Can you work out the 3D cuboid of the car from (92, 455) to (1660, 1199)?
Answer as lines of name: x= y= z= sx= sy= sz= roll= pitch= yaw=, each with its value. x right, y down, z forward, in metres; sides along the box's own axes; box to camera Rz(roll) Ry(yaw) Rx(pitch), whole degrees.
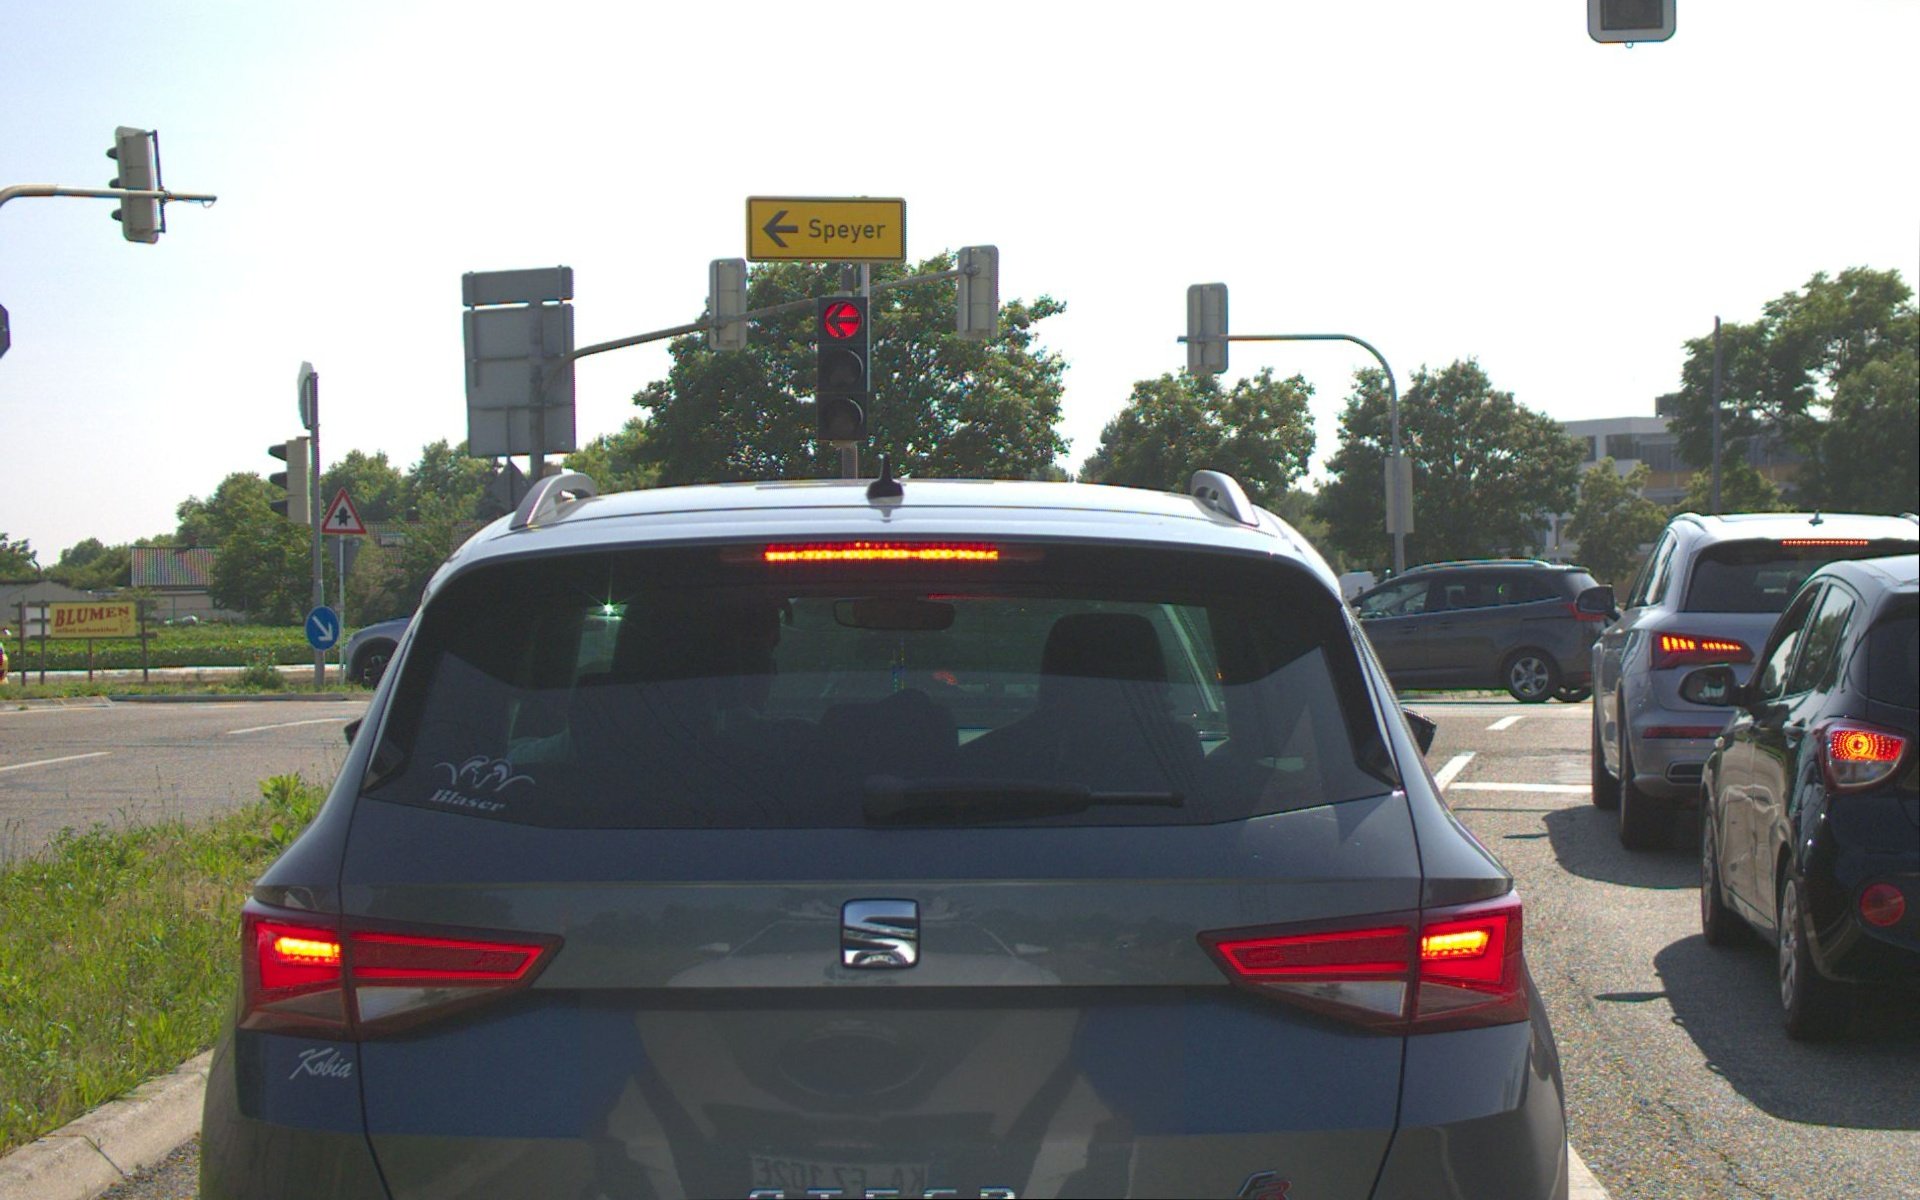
car: x=-0.120 y=0.619 z=5.666 sx=1.742 sy=1.563 sz=3.624 roll=1 pitch=0 yaw=-1

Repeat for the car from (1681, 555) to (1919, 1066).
car: x=3.380 y=0.584 z=11.342 sx=1.633 sy=1.443 sz=3.294 roll=1 pitch=1 yaw=6

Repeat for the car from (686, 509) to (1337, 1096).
car: x=0.150 y=0.535 z=11.152 sx=1.742 sy=1.563 sz=3.624 roll=1 pitch=0 yaw=0

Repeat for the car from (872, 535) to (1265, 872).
car: x=0.634 y=0.451 z=17.273 sx=1.742 sy=1.479 sz=3.623 roll=1 pitch=0 yaw=5

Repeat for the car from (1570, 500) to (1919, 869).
car: x=4.081 y=0.365 z=17.569 sx=1.633 sy=1.671 sz=3.749 roll=1 pitch=1 yaw=6

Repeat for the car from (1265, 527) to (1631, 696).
car: x=5.828 y=0.129 z=41.098 sx=4.013 sy=1.946 sz=1.694 roll=0 pitch=0 yaw=25

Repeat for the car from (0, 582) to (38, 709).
car: x=-14.380 y=0.610 z=45.563 sx=3.993 sy=1.645 sz=1.817 roll=0 pitch=0 yaw=28

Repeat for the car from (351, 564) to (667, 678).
car: x=-6.290 y=0.285 z=47.915 sx=4.029 sy=1.514 sz=1.805 roll=0 pitch=1 yaw=26
